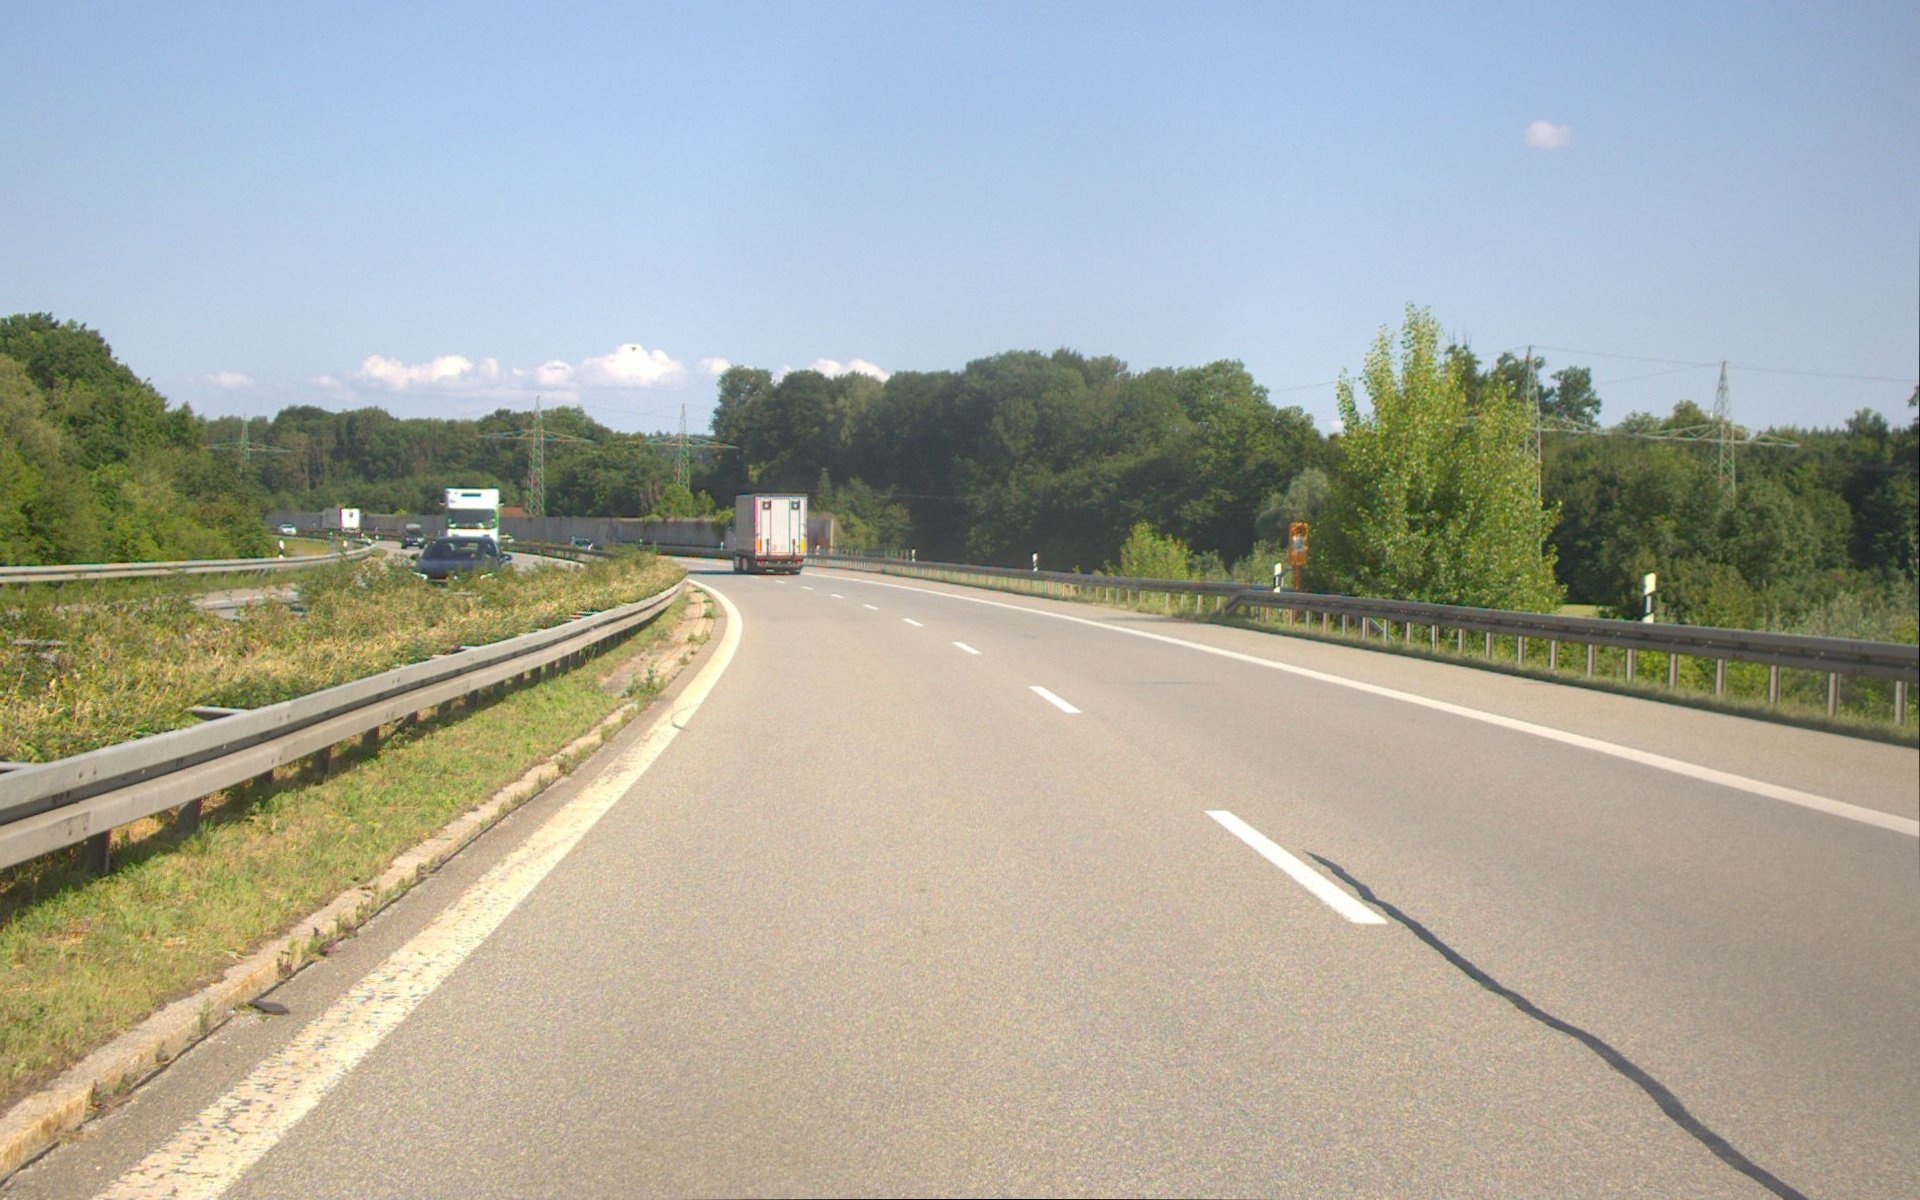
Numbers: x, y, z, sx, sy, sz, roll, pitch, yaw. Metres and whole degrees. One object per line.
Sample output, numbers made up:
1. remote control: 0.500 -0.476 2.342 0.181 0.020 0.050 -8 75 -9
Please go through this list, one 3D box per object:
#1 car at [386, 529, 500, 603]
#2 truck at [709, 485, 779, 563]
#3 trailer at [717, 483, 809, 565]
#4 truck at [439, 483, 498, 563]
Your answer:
1. car: -10.223 -0.683 68.195 1.729 1.423 3.881 0 1 -1
2. truck: -11.451 -4.022 181.951 2.829 3.998 6.589 0 1 -11
3. trailer: -10.146 -3.882 175.736 2.883 4.052 12.424 0 1 -12
4. truck: -23.353 -3.653 163.470 2.740 3.714 5.973 0 1 -8
